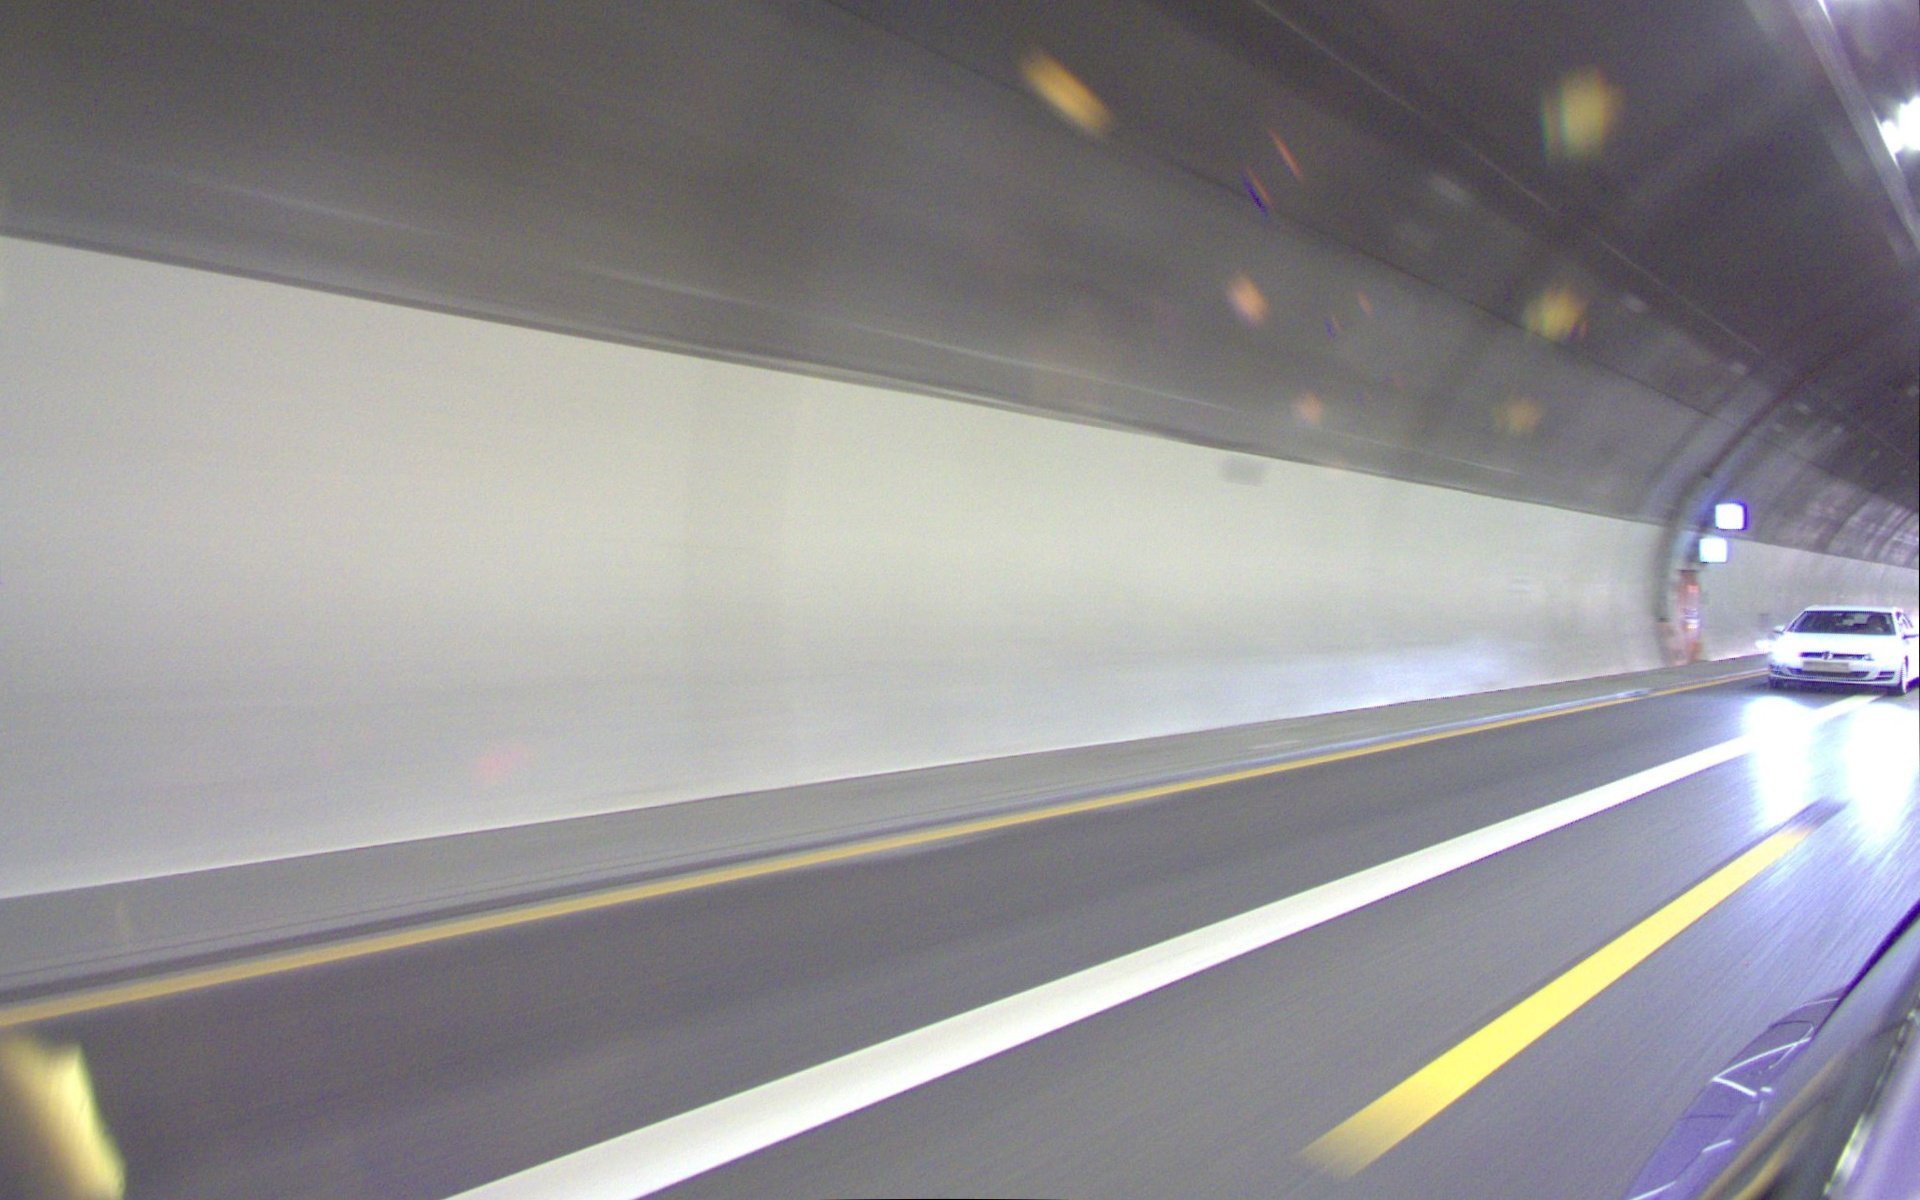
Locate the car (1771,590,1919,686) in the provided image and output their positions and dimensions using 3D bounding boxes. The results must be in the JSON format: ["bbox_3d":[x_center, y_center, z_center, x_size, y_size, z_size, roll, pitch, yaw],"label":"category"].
[{"bbox_3d":[15.711,0.583,17.552,3.962,1.479,1.801,0,0,-39],"label":"car"}]
